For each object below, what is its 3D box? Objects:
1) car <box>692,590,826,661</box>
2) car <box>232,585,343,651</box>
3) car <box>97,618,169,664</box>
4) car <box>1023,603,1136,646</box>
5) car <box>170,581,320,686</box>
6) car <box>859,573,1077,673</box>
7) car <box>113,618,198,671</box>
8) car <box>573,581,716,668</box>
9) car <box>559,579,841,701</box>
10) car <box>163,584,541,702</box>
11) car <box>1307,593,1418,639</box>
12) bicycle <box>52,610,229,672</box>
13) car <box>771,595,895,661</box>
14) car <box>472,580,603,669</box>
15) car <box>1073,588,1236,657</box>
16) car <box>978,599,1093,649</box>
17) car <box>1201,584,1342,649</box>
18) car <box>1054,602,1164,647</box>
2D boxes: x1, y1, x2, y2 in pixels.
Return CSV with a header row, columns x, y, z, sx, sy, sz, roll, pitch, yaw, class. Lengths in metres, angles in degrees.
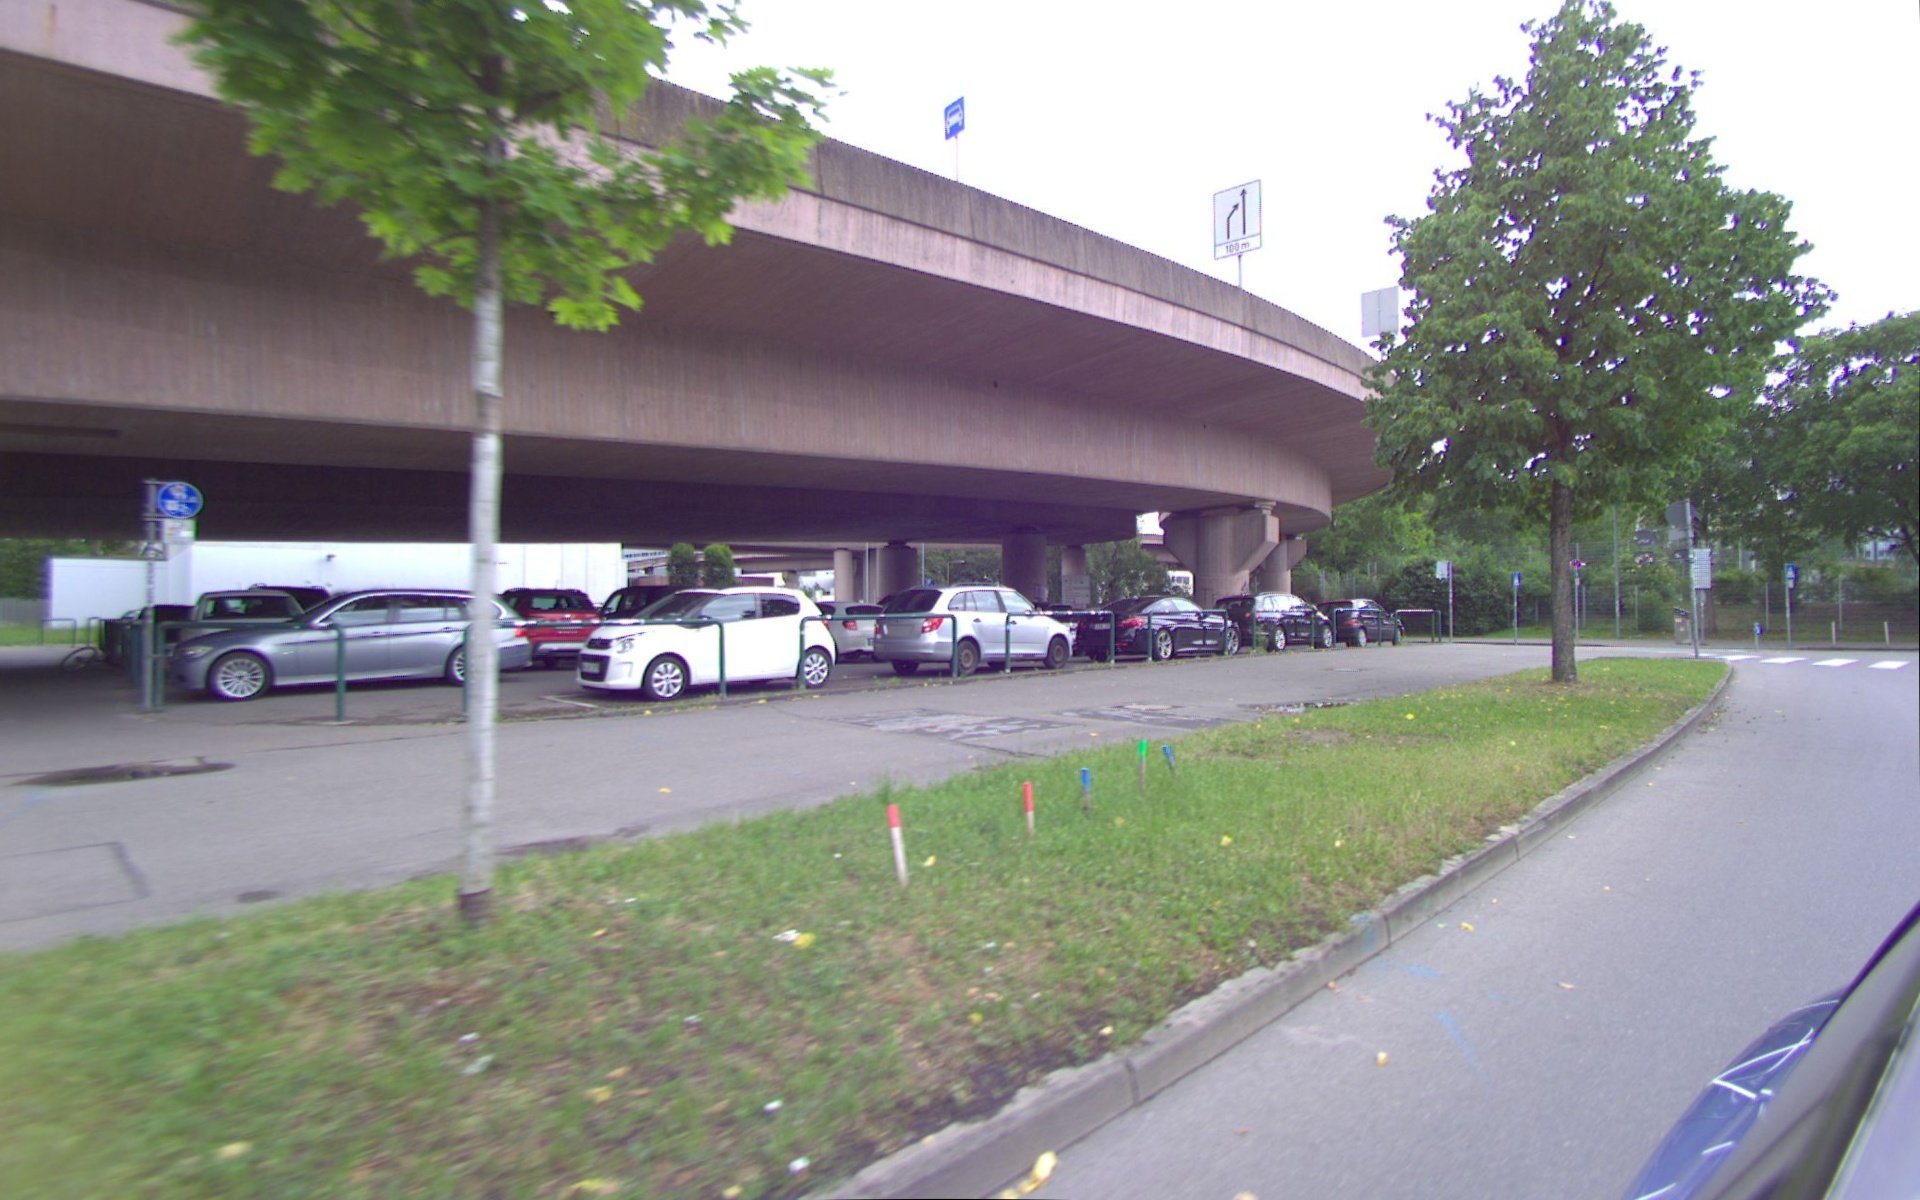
x,y,z,sx,sy,sz,roll,pitch,yaw,class
-4.461,0.539,22.204,1.524,1.416,3.316,1,-1,-39,car
-17.767,0.448,26.688,3.987,1.598,1.646,-1,-1,44,car
-22.462,1.097,27.466,1.356,1.127,3.314,3,-2,-41,car
3.470,0.690,29.780,1.327,1.214,3.316,1,-1,-39,car
-11.844,0.527,16.678,1.600,1.522,3.609,3,-2,-41,car
0.226,0.393,17.680,1.610,1.550,3.855,-3,-2,44,car
-18.761,1.012,23.548,1.356,1.127,3.314,3,-2,-41,car
-6.451,0.478,20.528,1.638,1.618,3.316,1,-1,-39,car
-3.470,0.462,13.848,3.419,1.463,1.606,-1,0,-45,car
-8.472,0.490,14.342,4.396,1.403,1.640,-1,1,-40,car
11.642,0.451,29.142,1.622,1.254,3.995,-1,-1,43,car
-16.503,0.793,20.475,2.719,1.081,1.139,-1,1,-40,bicycle
-3.022,0.628,23.626,1.327,1.427,3.315,1,-1,-39,car
-8.067,0.465,19.203,1.433,1.531,3.317,3,-2,-38,car
4.210,0.475,21.602,1.622,1.333,3.716,-4,-3,44,car
2.075,0.635,28.391,1.327,1.311,3.316,1,-1,-39,car
7.816,0.415,25.189,1.621,1.392,4.111,-7,-5,43,car
4.680,0.749,32.109,1.462,1.321,3.310,-1,0,-40,car
